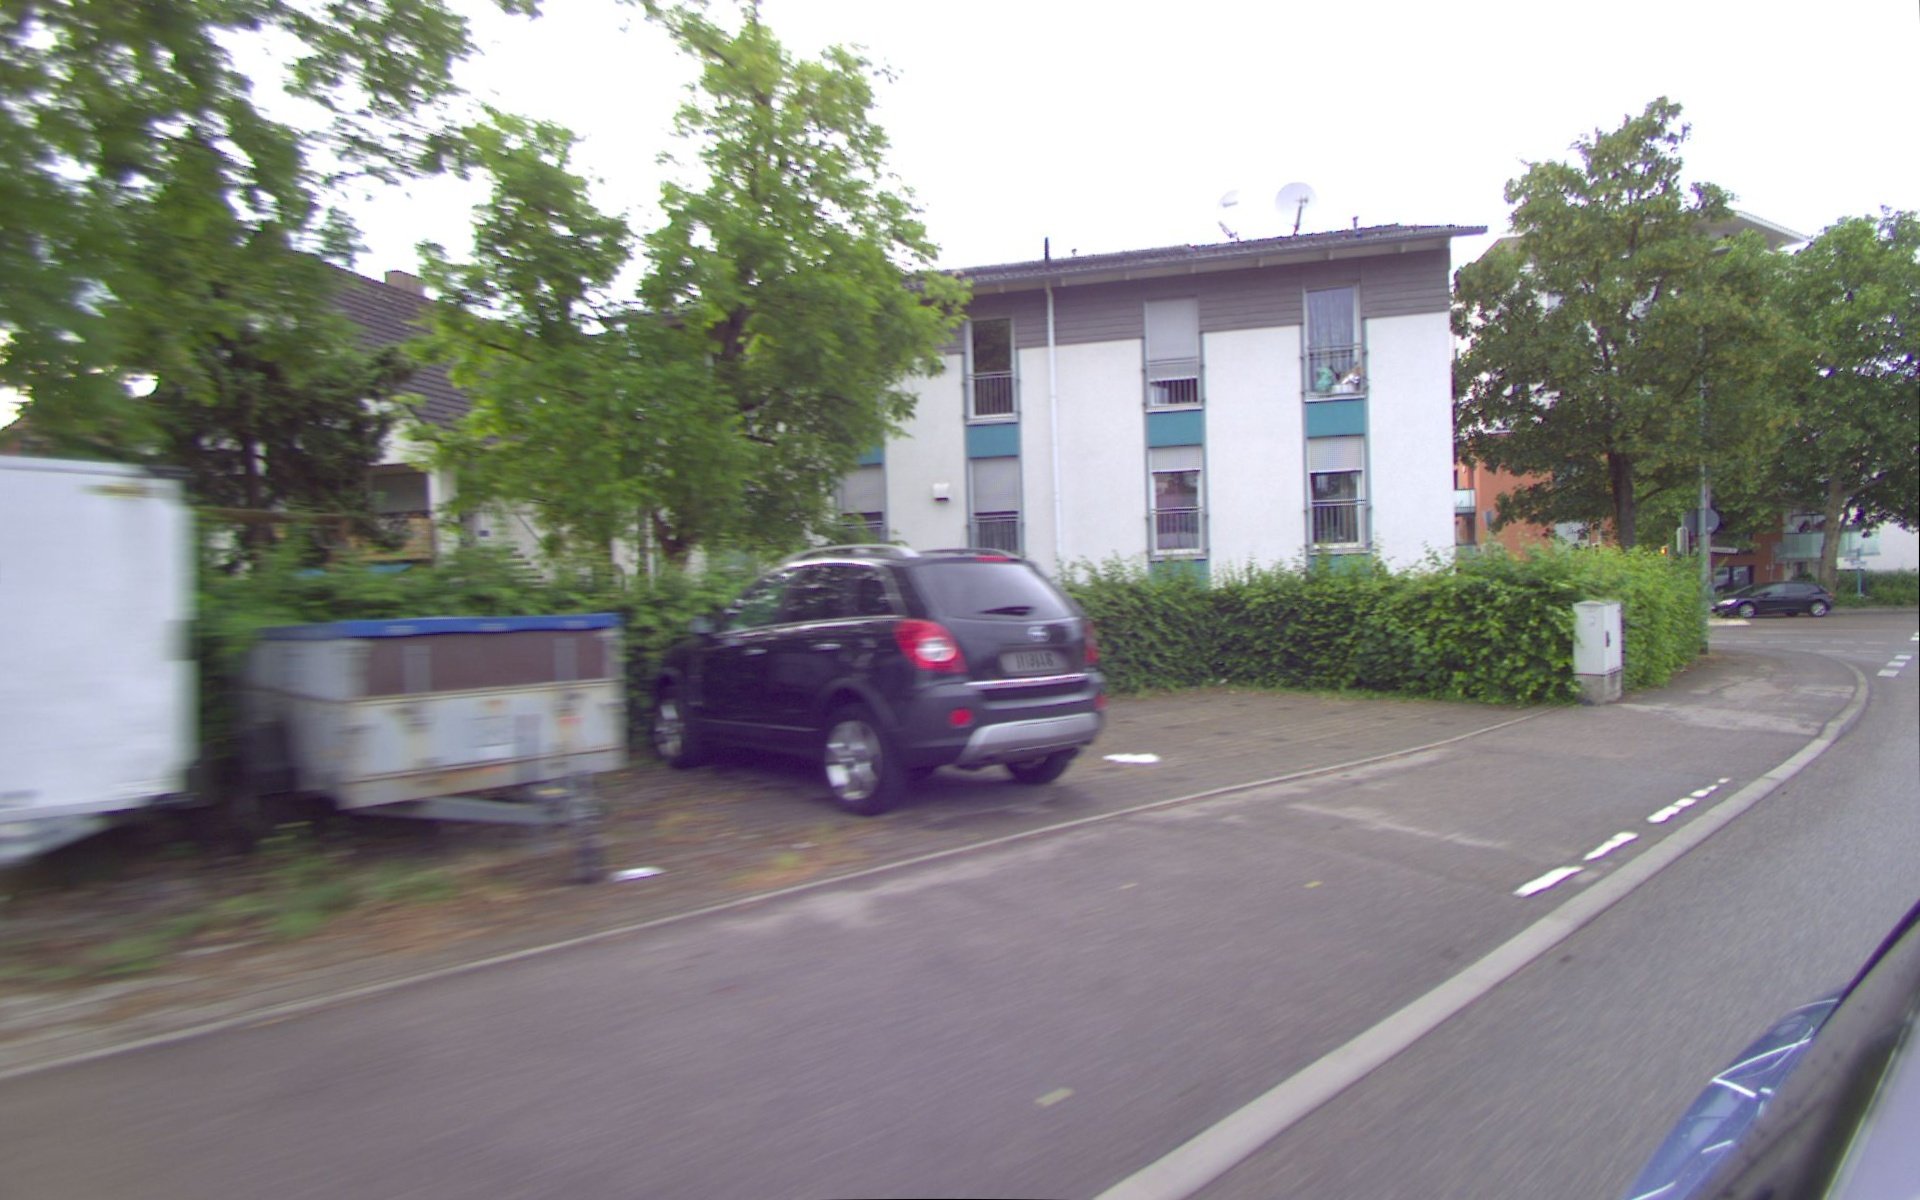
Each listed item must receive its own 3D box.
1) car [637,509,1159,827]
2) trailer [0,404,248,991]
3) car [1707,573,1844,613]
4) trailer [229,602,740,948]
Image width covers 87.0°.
[{"bbox_3d":[-0.731,0.397,7.895,1.949,1.772,4.220,1,-1,-40],"label":"car"},{"bbox_3d":[-4.758,0.385,4.938,1.658,2.048,3.957,0,-1,-42],"label":"trailer"},{"bbox_3d":[32.775,-0.302,40.786,3.929,1.445,1.769,-2,1,5],"label":"car"},{"bbox_3d":[-3.097,0.677,5.991,1.544,1.304,4.402,1,-1,-42],"label":"trailer"}]
